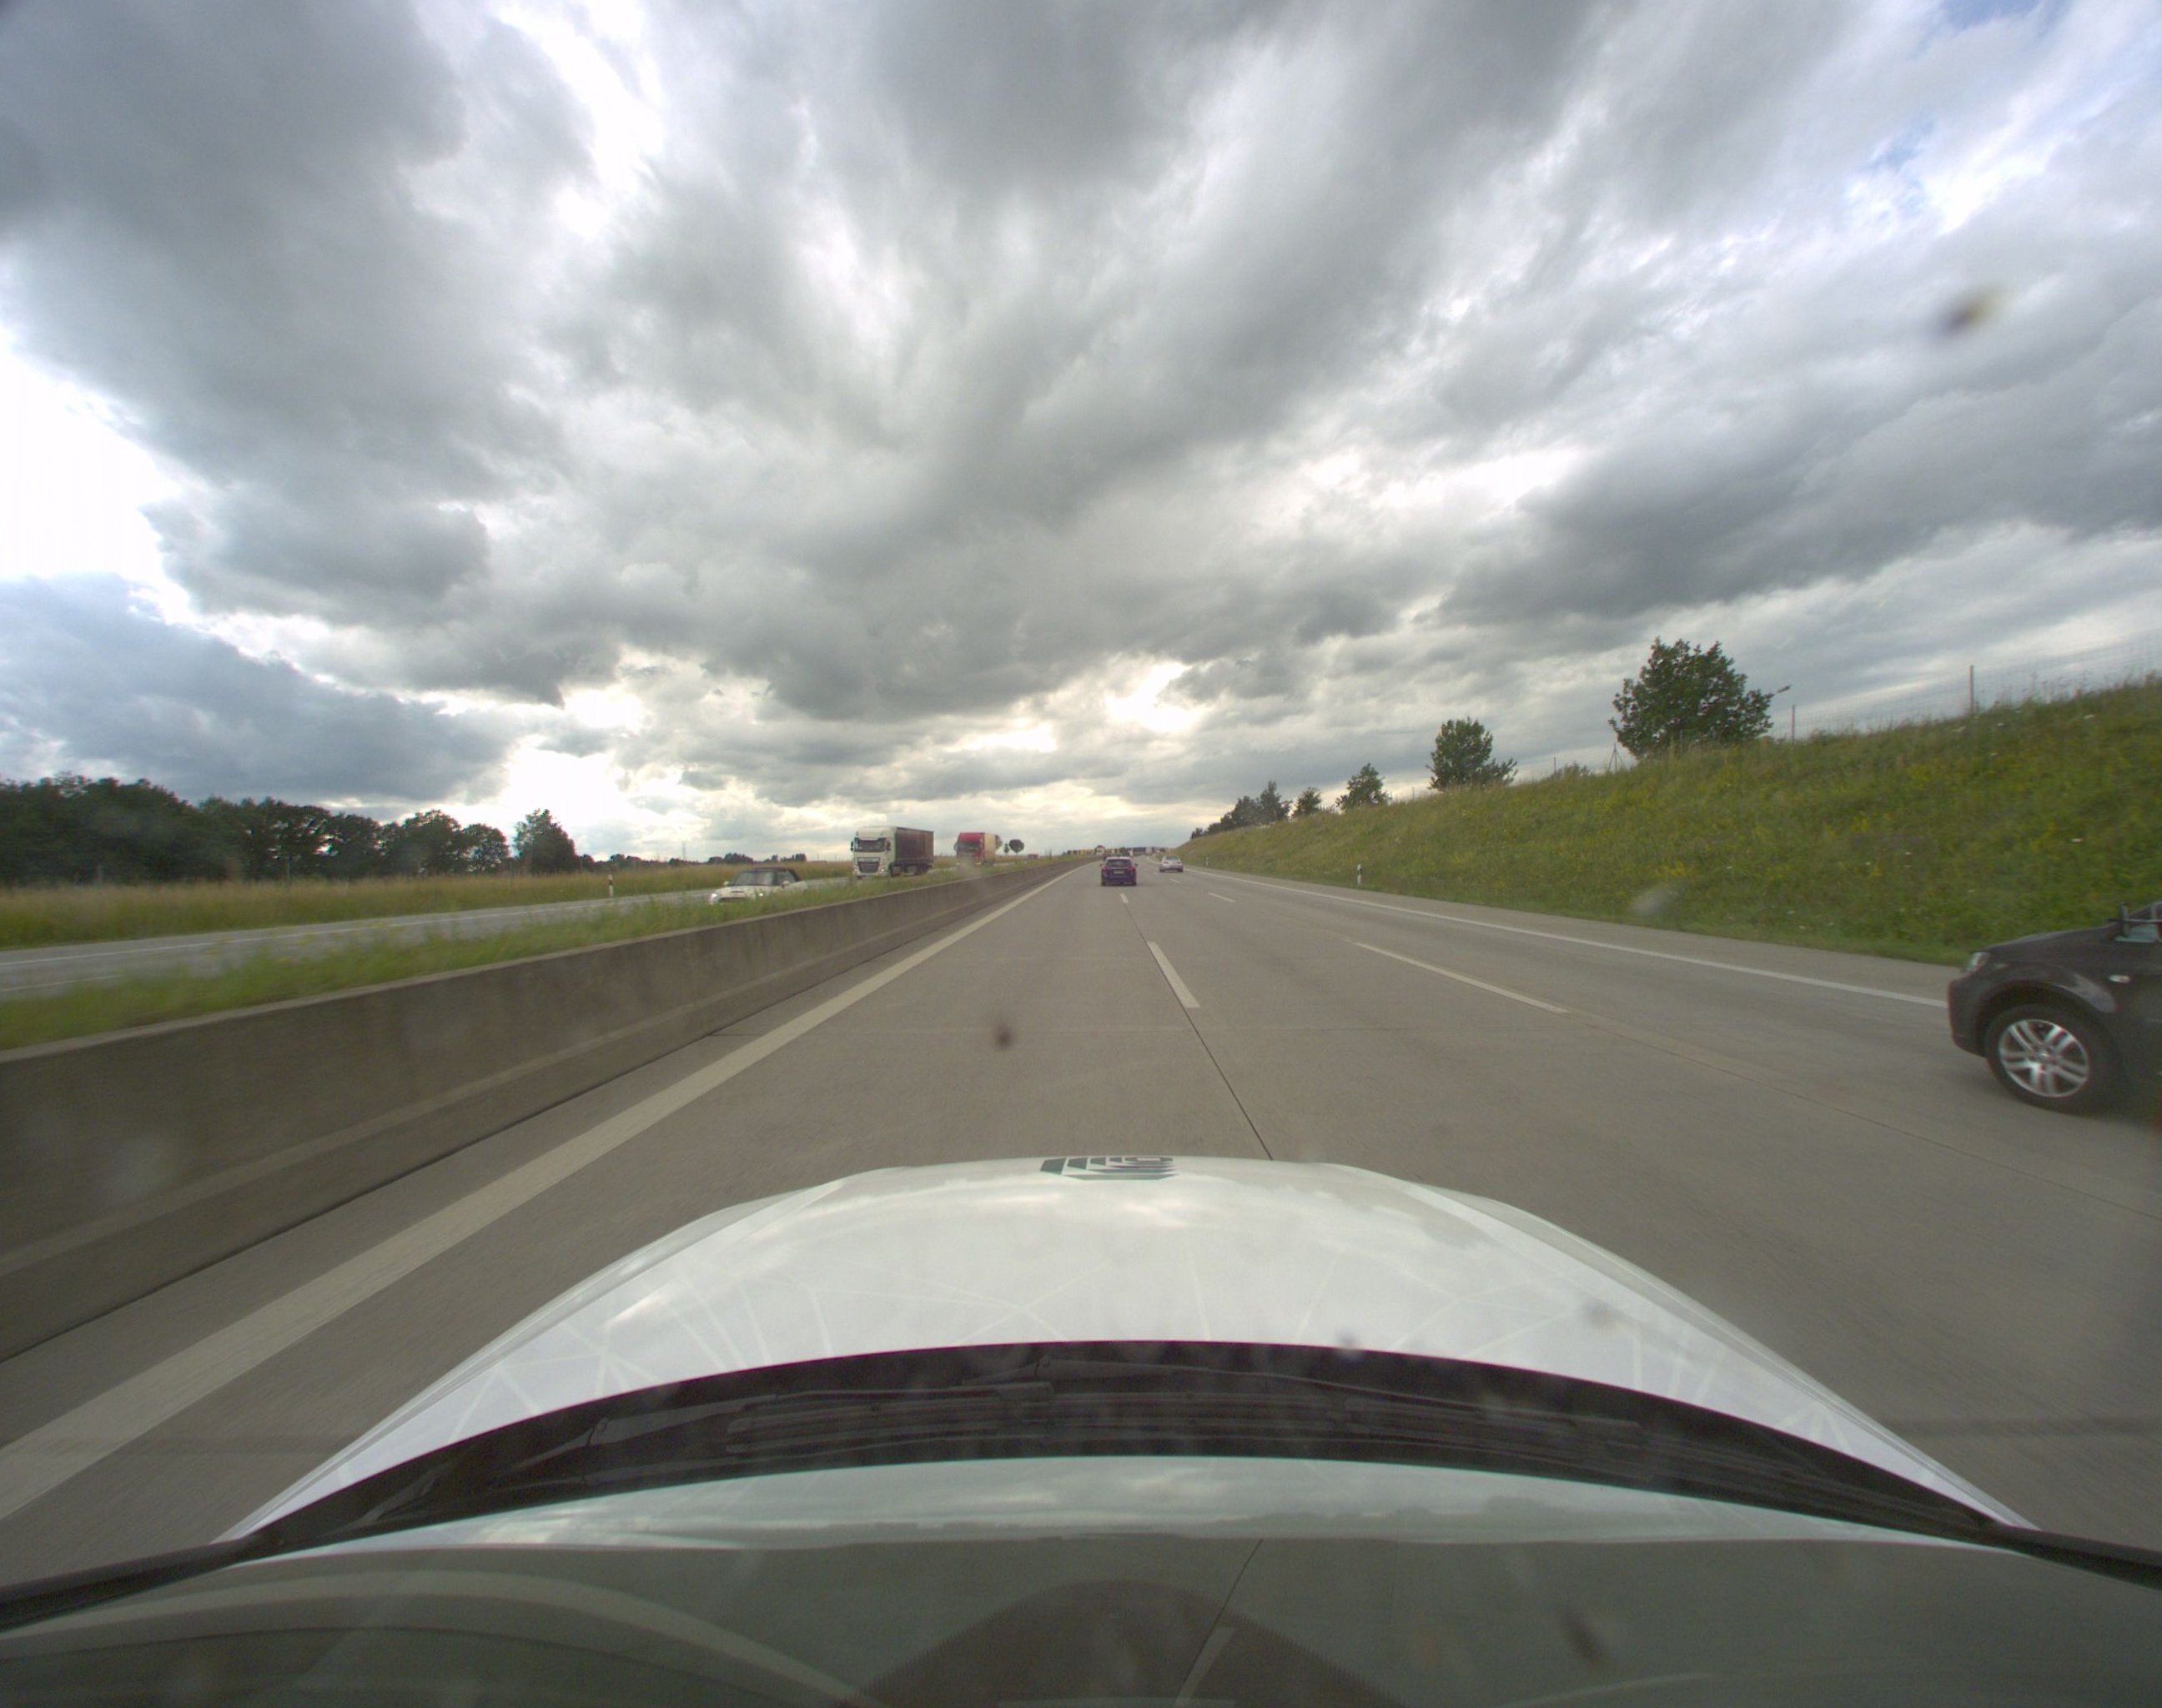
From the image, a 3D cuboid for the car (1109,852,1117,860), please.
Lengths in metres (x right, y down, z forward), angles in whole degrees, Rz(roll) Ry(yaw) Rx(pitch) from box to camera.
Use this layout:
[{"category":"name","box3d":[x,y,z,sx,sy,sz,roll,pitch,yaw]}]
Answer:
[{"category":"car","box3d":[8.528,0.471,215.664,1.986,2.014,4.001,0,-1,1]}]

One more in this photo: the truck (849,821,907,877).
[{"category":"truck","box3d":[-15.525,-0.382,62.636,2.829,4.038,5.513,-1,0,2]}]

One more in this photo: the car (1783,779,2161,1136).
[{"category":"car","box3d":[6.444,0.509,3.791,1.933,1.809,5.029,-1,0,-1]}]

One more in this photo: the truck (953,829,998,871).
[{"category":"truck","box3d":[-10.727,-0.408,83.646,2.806,4.038,10.572,-1,0,2]}]

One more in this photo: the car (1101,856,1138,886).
[{"category":"car","box3d":[2.018,0.831,41.694,1.766,1.413,4.005,-1,0,4]}]

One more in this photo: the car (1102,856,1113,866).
[{"category":"car","box3d":[5.333,1.355,163.671,2.039,2.014,4.001,0,-1,1]}]

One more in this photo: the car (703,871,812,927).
[{"category":"car","box3d":[-8.991,1.213,22.923,1.561,1.352,3.474,-1,0,2]}]

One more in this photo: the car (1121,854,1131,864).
[{"category":"car","box3d":[9.585,1.041,174.995,1.986,2.014,4.001,0,-1,2]}]

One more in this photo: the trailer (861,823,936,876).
[{"category":"trailer","box3d":[-15.276,-0.340,69.586,2.829,4.038,13.913,-1,0,2]}]

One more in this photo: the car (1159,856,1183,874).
[{"category":"car","box3d":[7.675,0.934,69.557,1.781,1.403,4.224,-1,0,2]}]
